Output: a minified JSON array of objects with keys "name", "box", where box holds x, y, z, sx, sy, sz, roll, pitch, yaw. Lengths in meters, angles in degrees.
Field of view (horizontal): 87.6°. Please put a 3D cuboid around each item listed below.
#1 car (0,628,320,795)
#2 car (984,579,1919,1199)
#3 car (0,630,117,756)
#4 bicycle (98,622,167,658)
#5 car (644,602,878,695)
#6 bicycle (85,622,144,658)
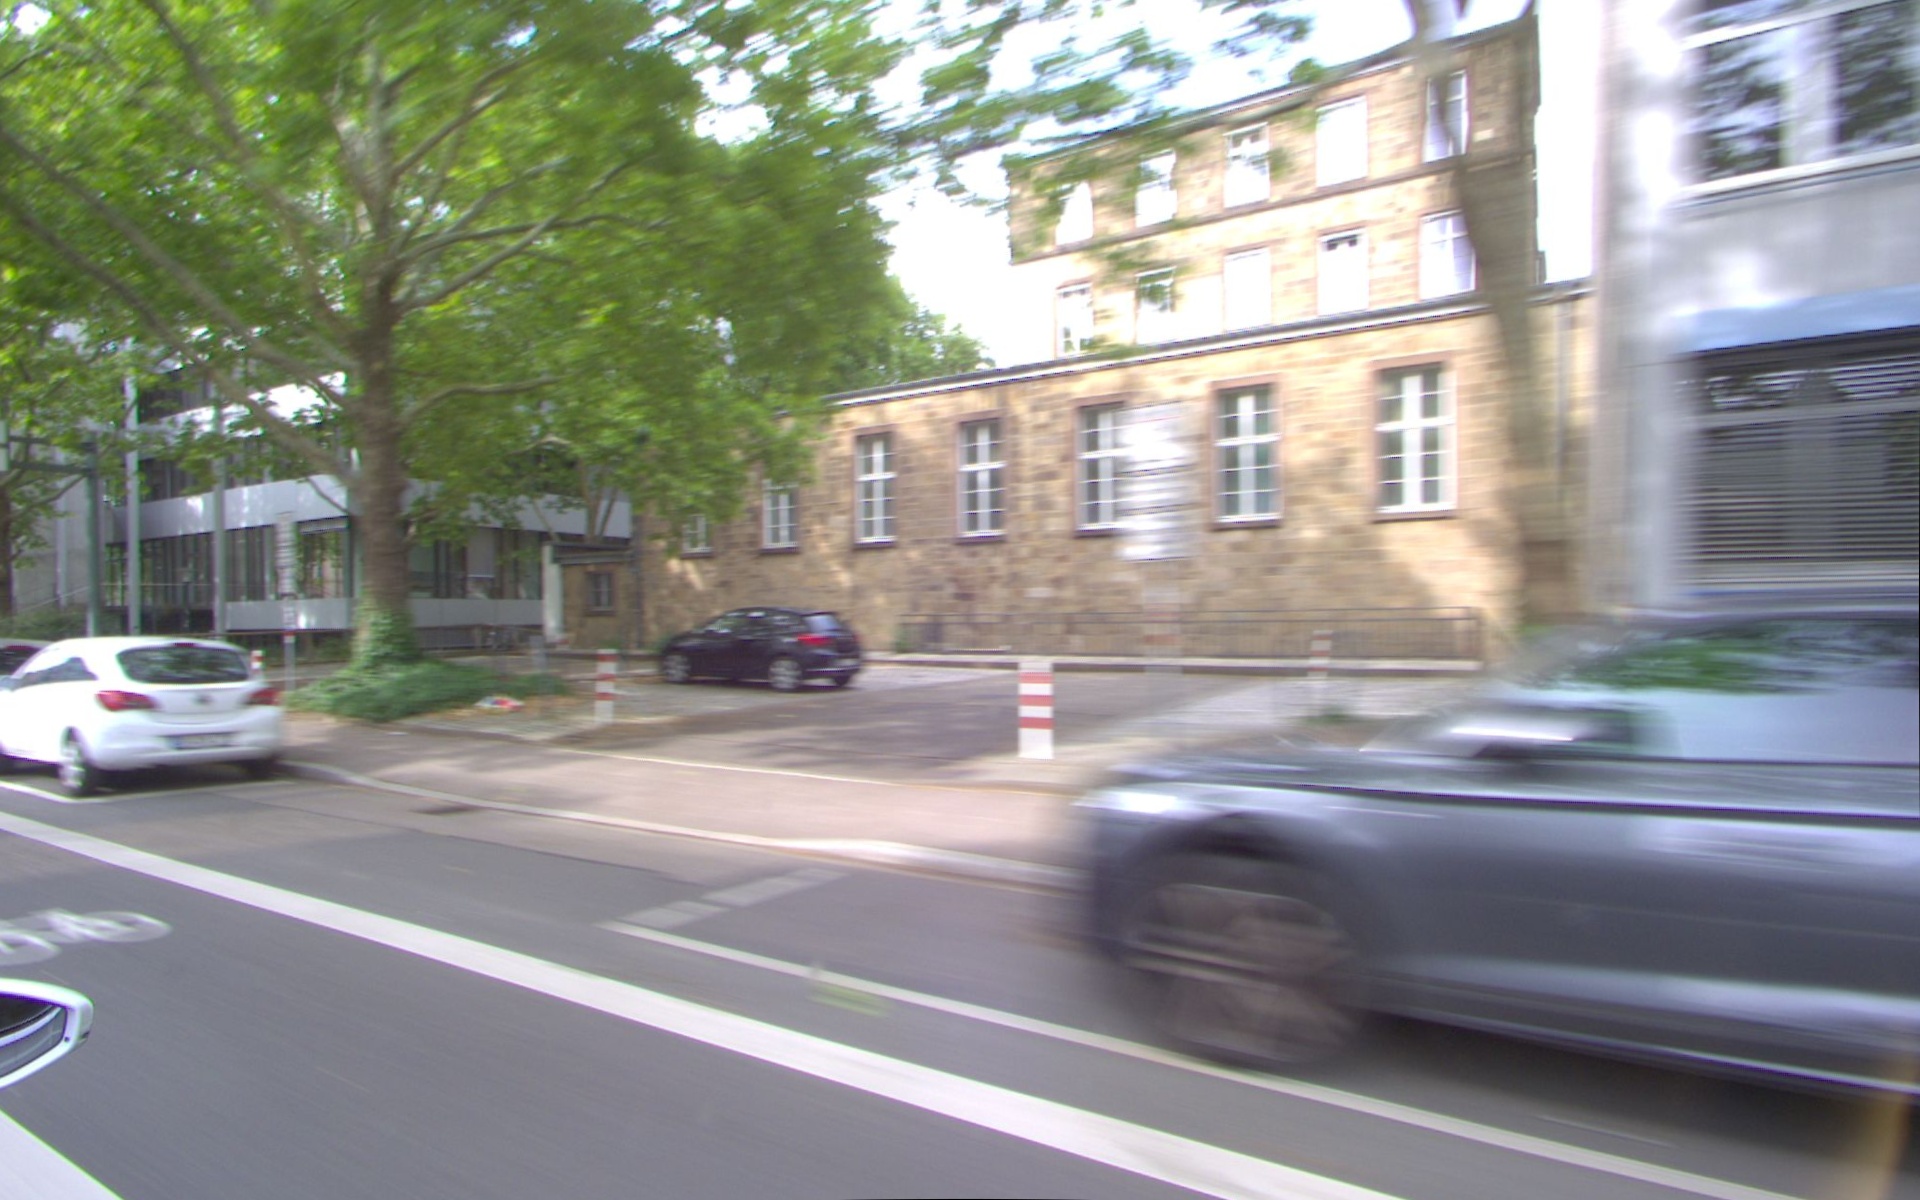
[{"name":"car","box":[-8.842,1.054,10.717,4.158,1.465,1.752,-1,-3,32]},{"name":"car","box":[2.481,0.819,3.597,4.414,1.641,1.919,-1,-3,30]},{"name":"car","box":[-12.786,1.117,12.859,3.821,1.465,1.643,0,-3,27]},{"name":"bicycle","box":[-27.616,1.323,33.441,0.595,1.132,1.673,0,0,25]},{"name":"car","box":[-3.755,0.839,18.673,4.232,1.469,1.667,2,0,30]},{"name":"bicycle","box":[-28.539,1.338,33.834,0.461,1.132,1.444,0,0,28]}]
